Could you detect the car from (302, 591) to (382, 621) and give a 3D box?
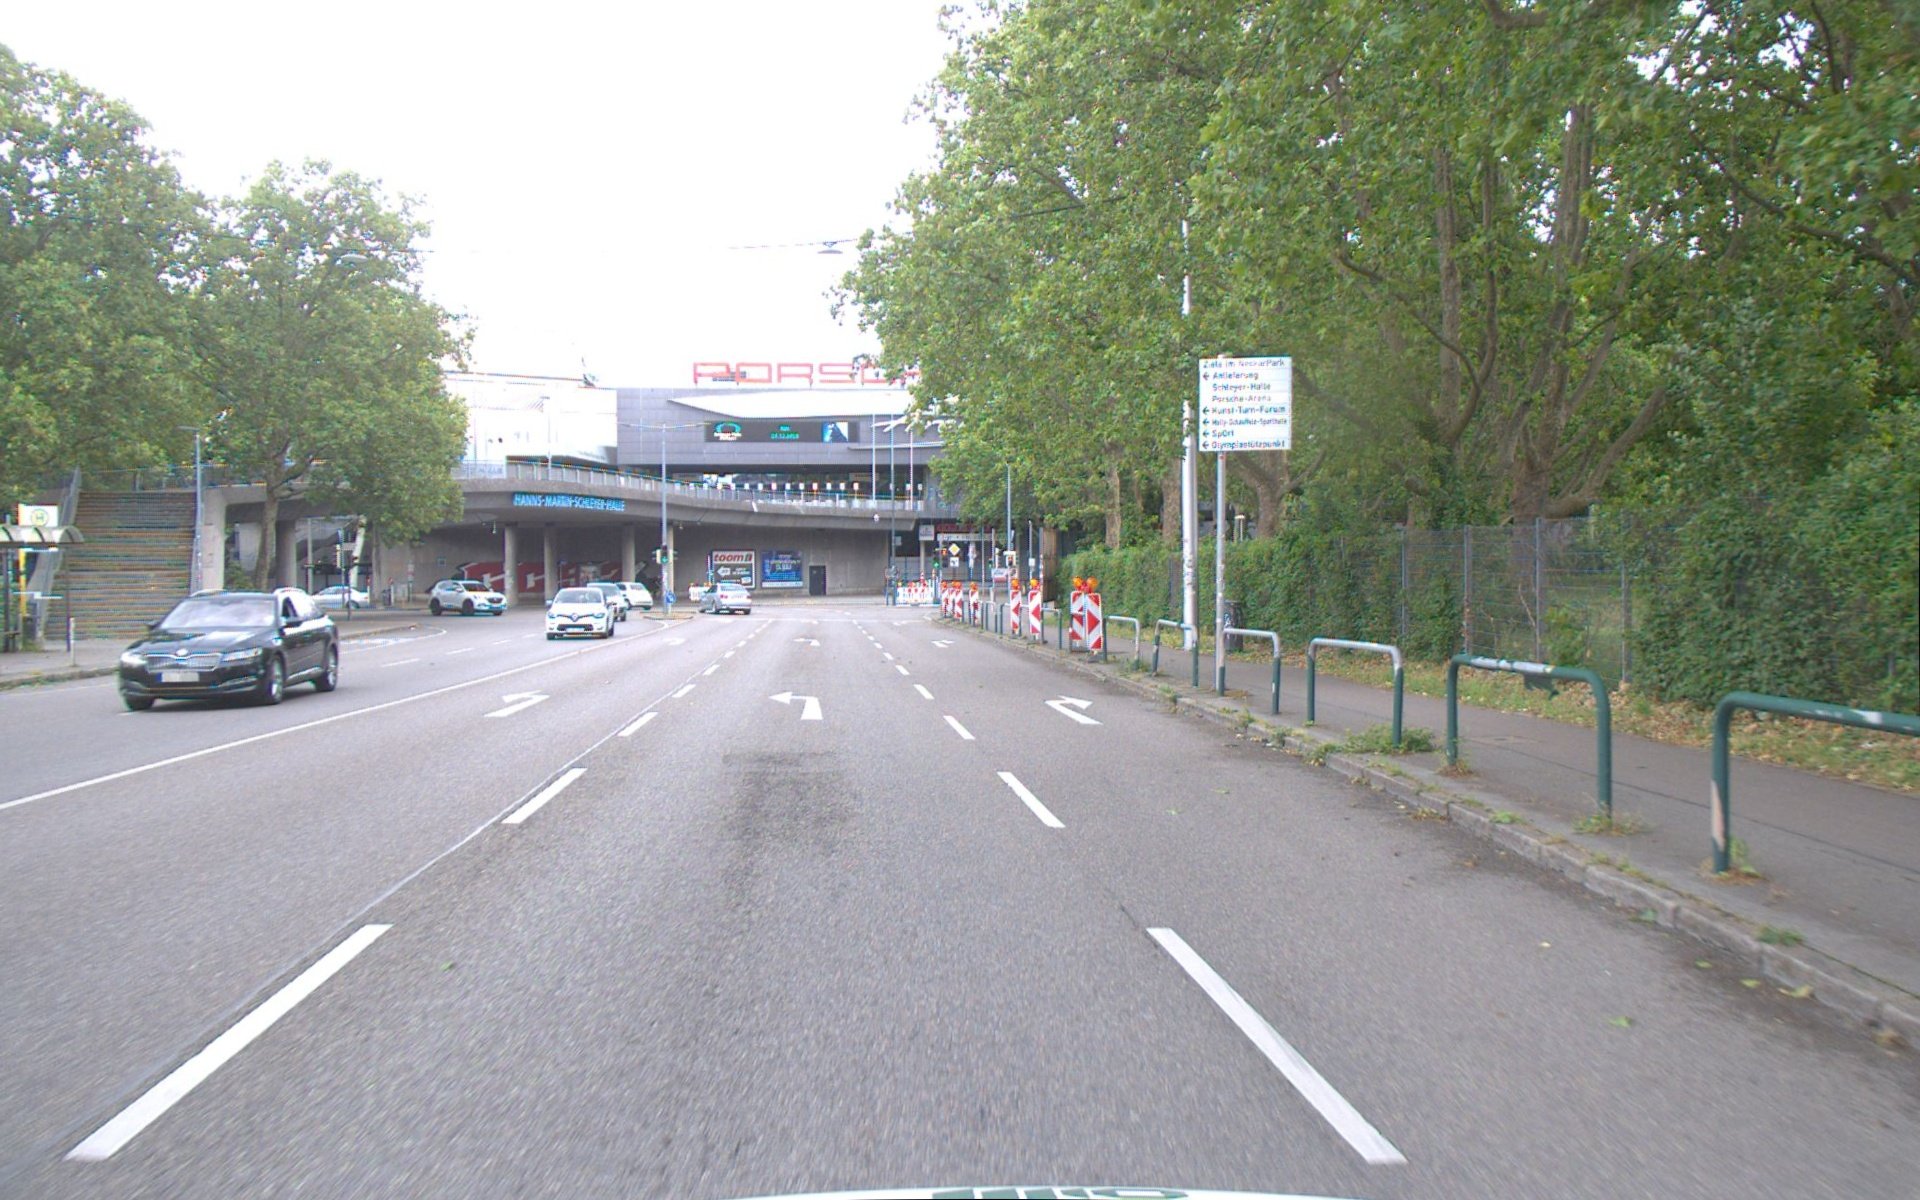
[{"bbox_3d":[-35.437,0.358,94.943,3.909,1.689,1.998,0,0,-5],"label":"car"}]

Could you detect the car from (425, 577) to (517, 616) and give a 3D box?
[{"bbox_3d":[-23.572,-0.164,79.618,4.505,1.775,1.992,-1,0,37],"label":"car"}]

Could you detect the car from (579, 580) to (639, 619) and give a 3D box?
[{"bbox_3d":[-14.512,-0.028,68.479,1.955,1.552,3.995,-1,0,-6],"label":"car"}]

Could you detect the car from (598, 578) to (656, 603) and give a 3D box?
[{"bbox_3d":[-18.200,-0.517,90.249,1.603,1.336,3.341,0,0,-43],"label":"car"}]

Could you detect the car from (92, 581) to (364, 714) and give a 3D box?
[{"bbox_3d":[-9.687,0.549,22.343,1.955,1.557,4.720,-1,1,-6],"label":"car"}]

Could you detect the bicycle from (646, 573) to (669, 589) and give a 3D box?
[{"bbox_3d":[-20.585,-1.291,112.474,1.504,1.031,0.516,1,0,-9],"label":"bicycle"}]

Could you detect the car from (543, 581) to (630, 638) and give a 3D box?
[{"bbox_3d":[-10.864,0.237,48.369,1.955,1.557,4.379,-1,1,-6],"label":"car"}]

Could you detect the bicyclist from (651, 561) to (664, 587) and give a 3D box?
[{"bbox_3d":[-20.582,-1.775,112.480,0.836,1.727,0.765,1,0,-9],"label":"bicyclist"}]

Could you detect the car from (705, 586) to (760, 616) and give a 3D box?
[{"bbox_3d":[-11.099,0.029,80.518,1.963,1.443,3.979,0,0,-18],"label":"car"}]
